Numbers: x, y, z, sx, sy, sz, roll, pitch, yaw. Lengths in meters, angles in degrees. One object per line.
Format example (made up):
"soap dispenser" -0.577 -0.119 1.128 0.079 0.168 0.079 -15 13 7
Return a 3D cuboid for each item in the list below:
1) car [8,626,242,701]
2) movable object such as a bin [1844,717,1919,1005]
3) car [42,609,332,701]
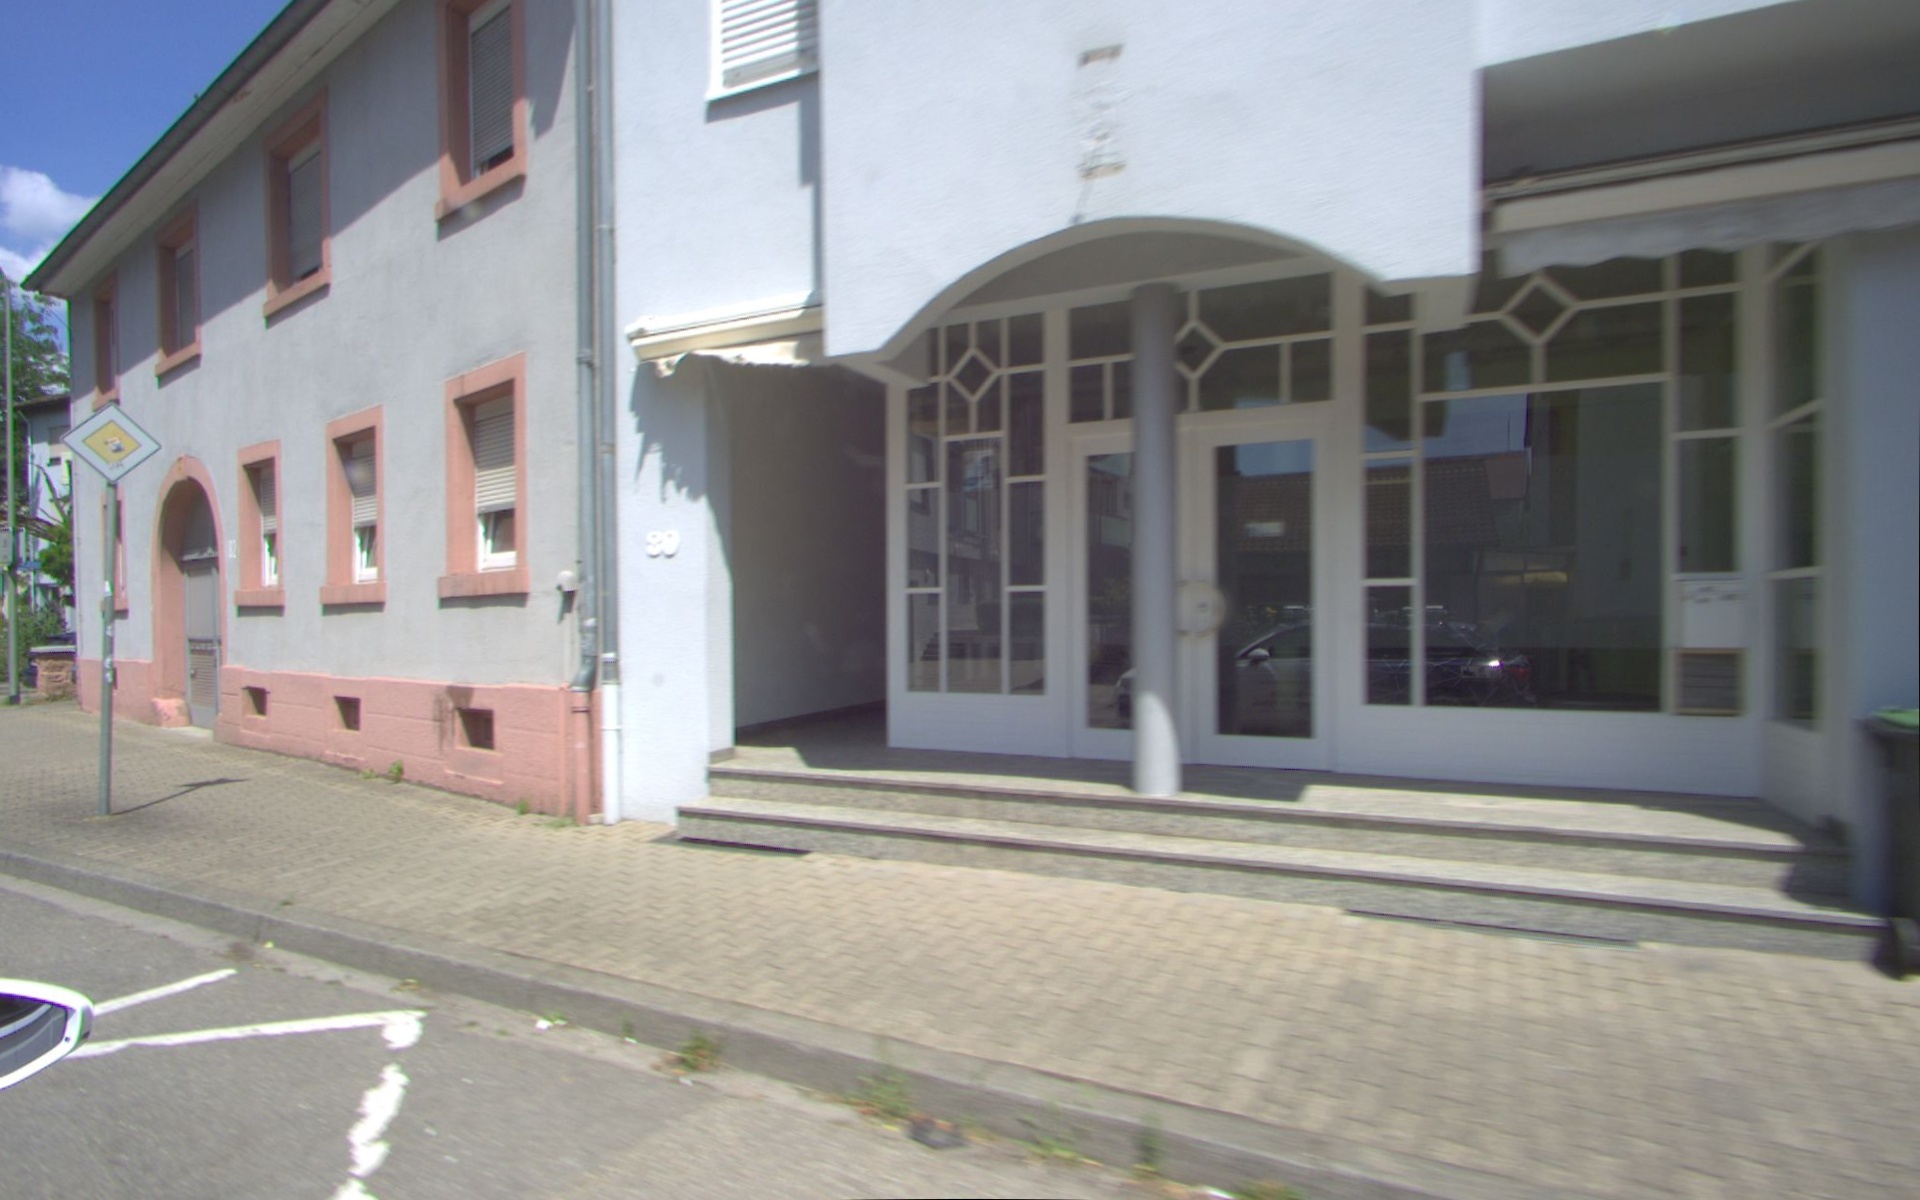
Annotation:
"car" -18.355 1.353 22.182 1.714 1.467 3.597 1 -1 28
"movable object such as a bin" 3.593 0.925 3.602 0.479 0.947 0.473 -1 0 22
"car" -15.353 1.041 20.141 1.717 1.550 4.258 -2 0 32
